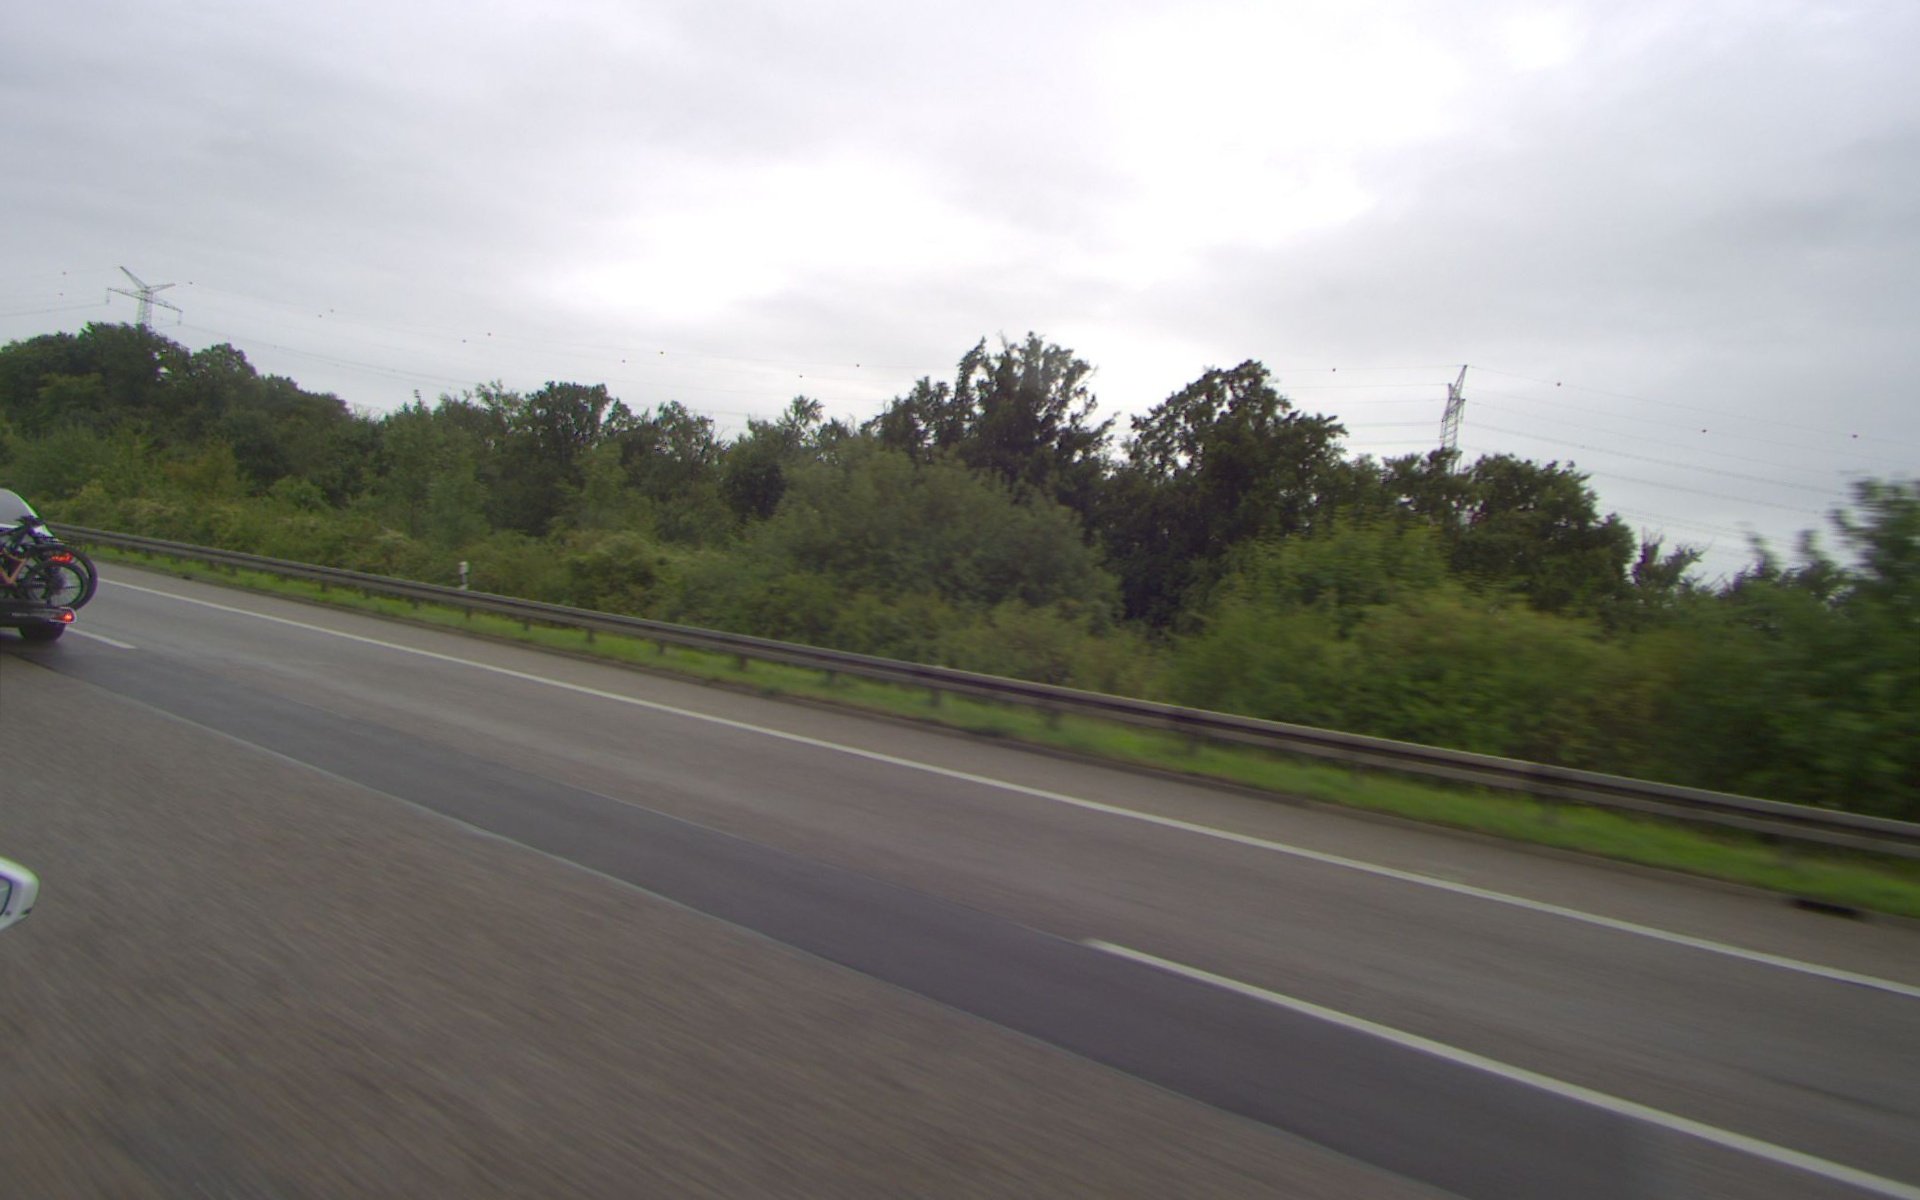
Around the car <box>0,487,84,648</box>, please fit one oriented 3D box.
[{"bbox_3d":[-11.889,-0.615,11.111,4.881,1.586,1.863,7,-1,32],"label":"car"}]

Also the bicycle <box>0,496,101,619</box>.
[{"bbox_3d":[-9.459,-0.468,9.535,0.899,1.103,1.755,6,-1,33],"label":"bicycle"}]
